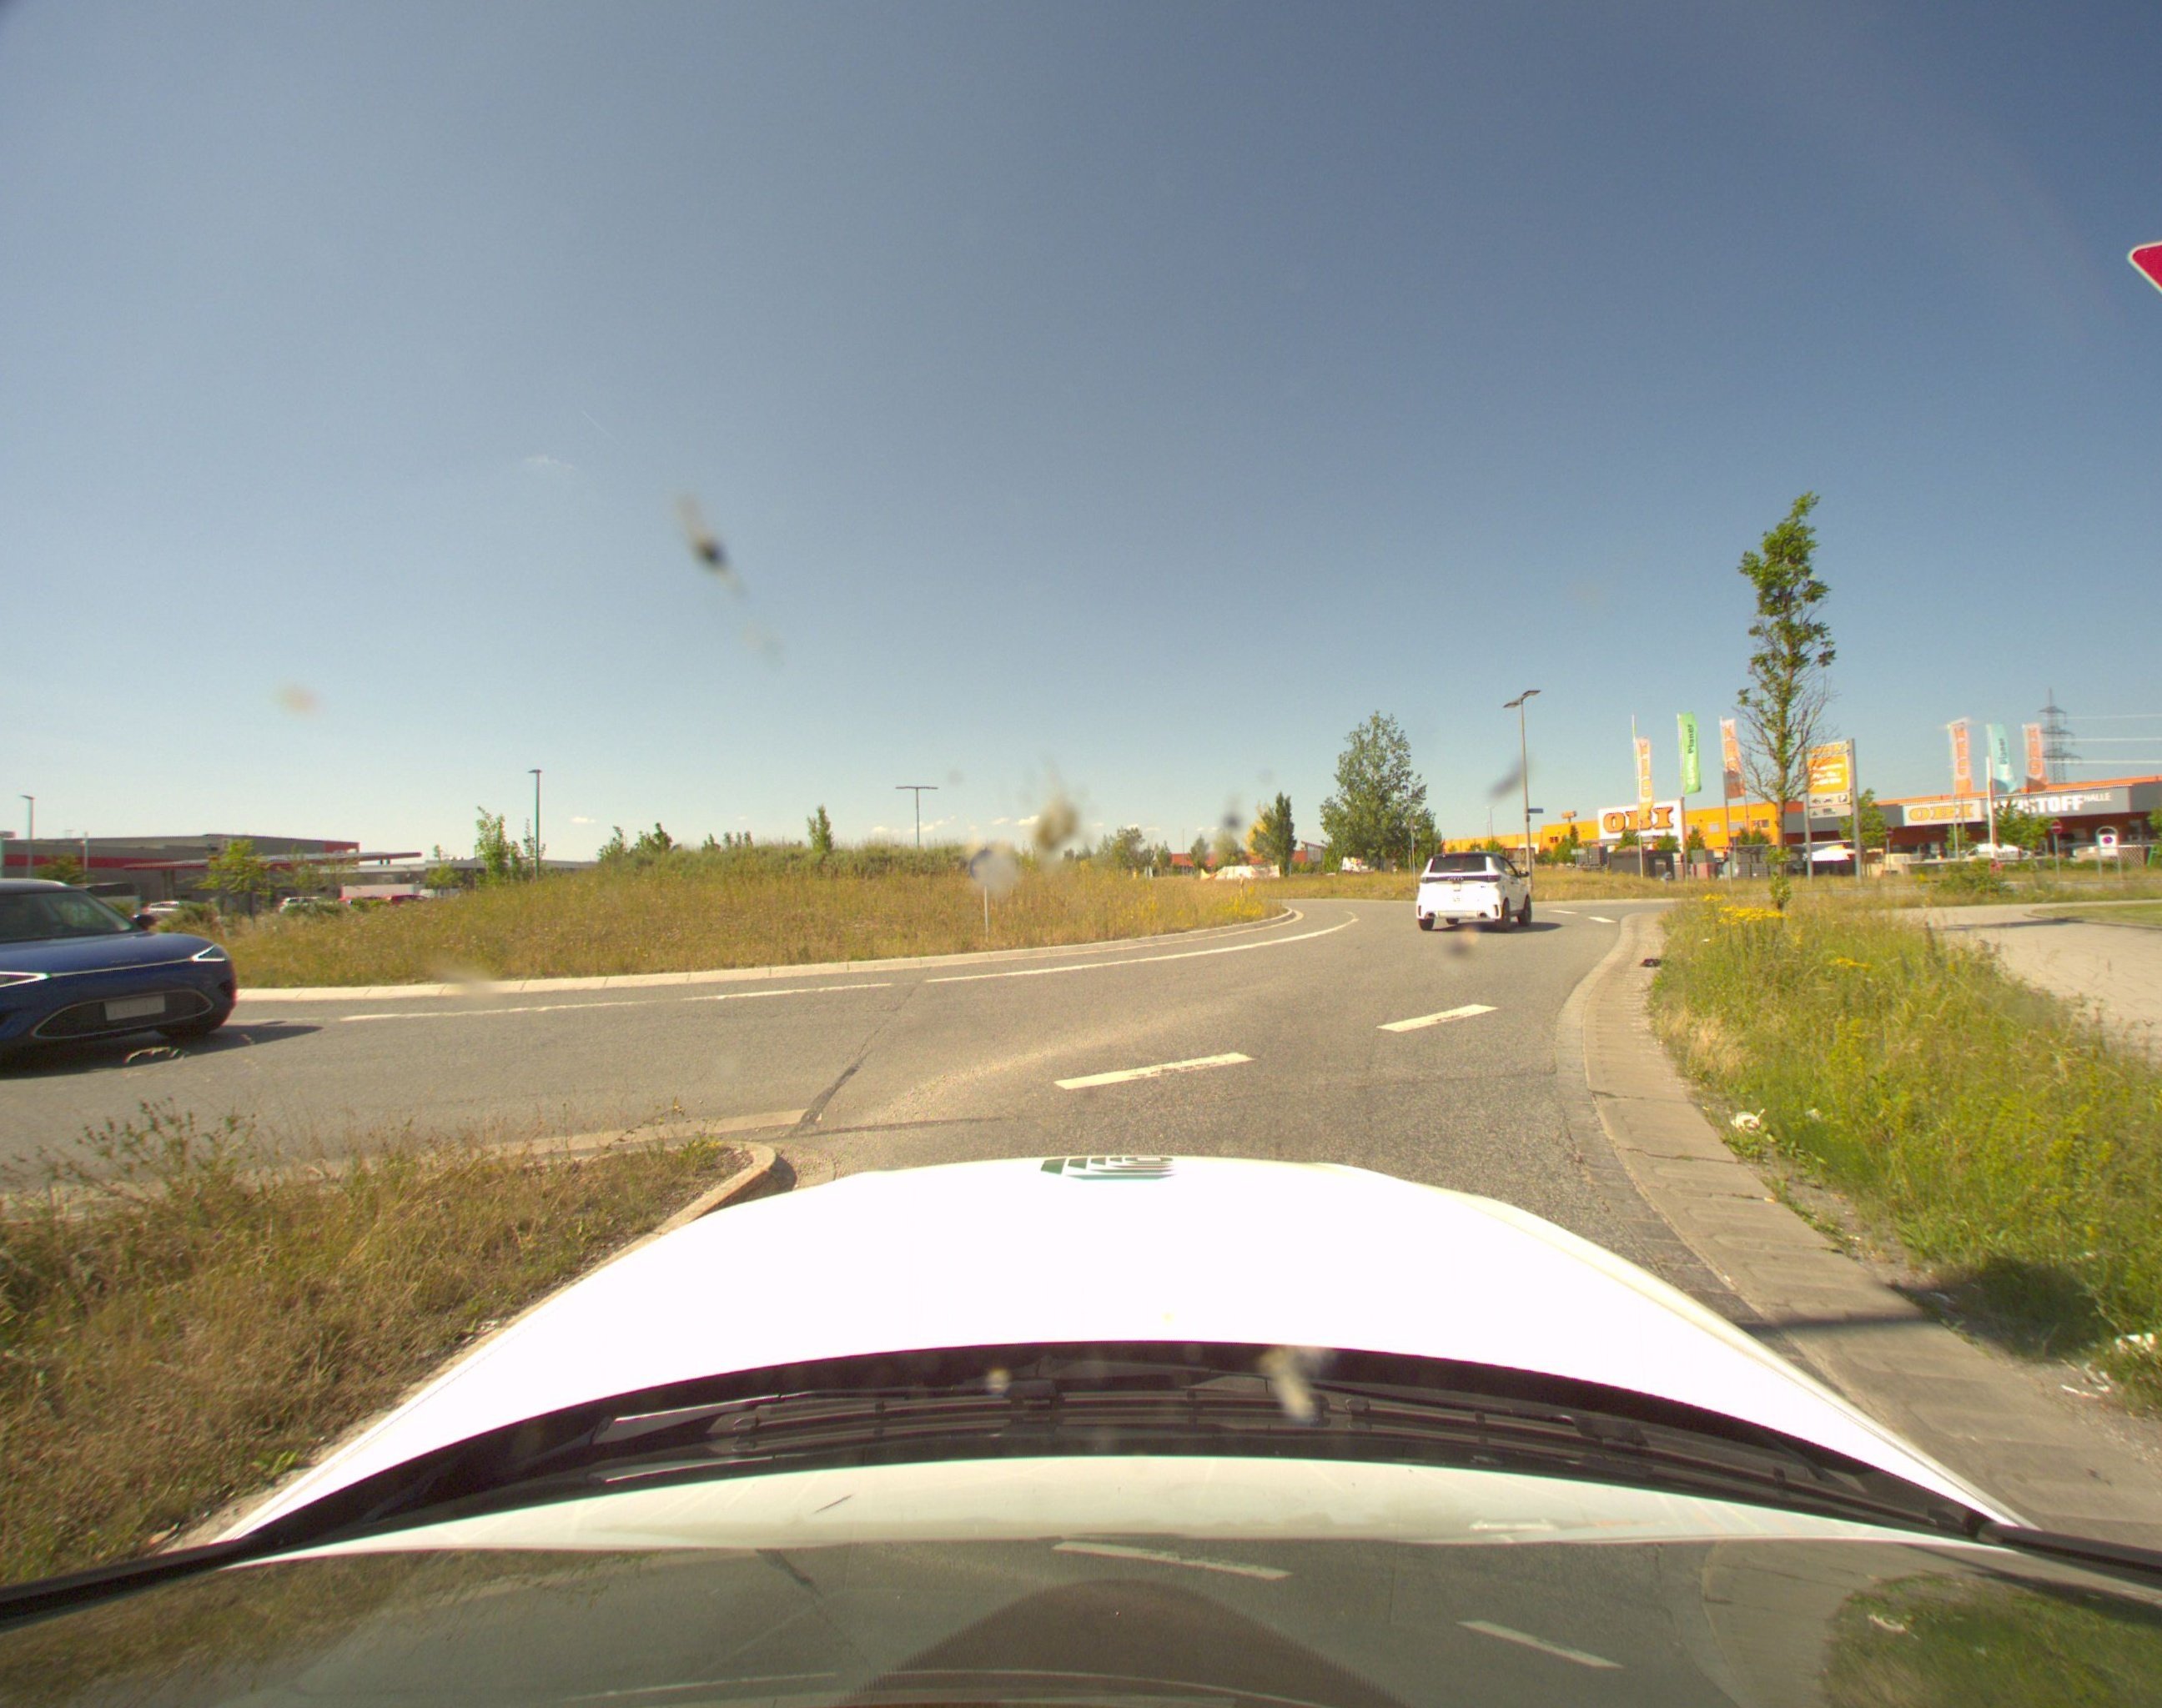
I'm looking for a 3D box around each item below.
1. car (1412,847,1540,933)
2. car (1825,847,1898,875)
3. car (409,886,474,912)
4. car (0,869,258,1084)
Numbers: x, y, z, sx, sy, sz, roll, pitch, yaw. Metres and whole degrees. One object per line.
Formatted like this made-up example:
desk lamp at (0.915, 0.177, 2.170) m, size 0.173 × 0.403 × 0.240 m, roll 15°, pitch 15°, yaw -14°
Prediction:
car at (7.722, 0.626, 15.782) m, size 1.495 × 1.440 × 3.372 m, roll -1°, pitch 0°, yaw 39°
car at (53.231, 0.507, 55.556) m, size 3.763 × 1.841 × 1.693 m, roll 1°, pitch -2°, yaw -11°
car at (-54.247, 3.776, 69.208) m, size 1.992 × 2.014 × 5.121 m, roll -1°, pitch -2°, yaw -8°
car at (-10.218, 1.030, 7.514) m, size 4.037 × 1.635 × 1.864 m, roll -2°, pitch 0°, yaw 14°
